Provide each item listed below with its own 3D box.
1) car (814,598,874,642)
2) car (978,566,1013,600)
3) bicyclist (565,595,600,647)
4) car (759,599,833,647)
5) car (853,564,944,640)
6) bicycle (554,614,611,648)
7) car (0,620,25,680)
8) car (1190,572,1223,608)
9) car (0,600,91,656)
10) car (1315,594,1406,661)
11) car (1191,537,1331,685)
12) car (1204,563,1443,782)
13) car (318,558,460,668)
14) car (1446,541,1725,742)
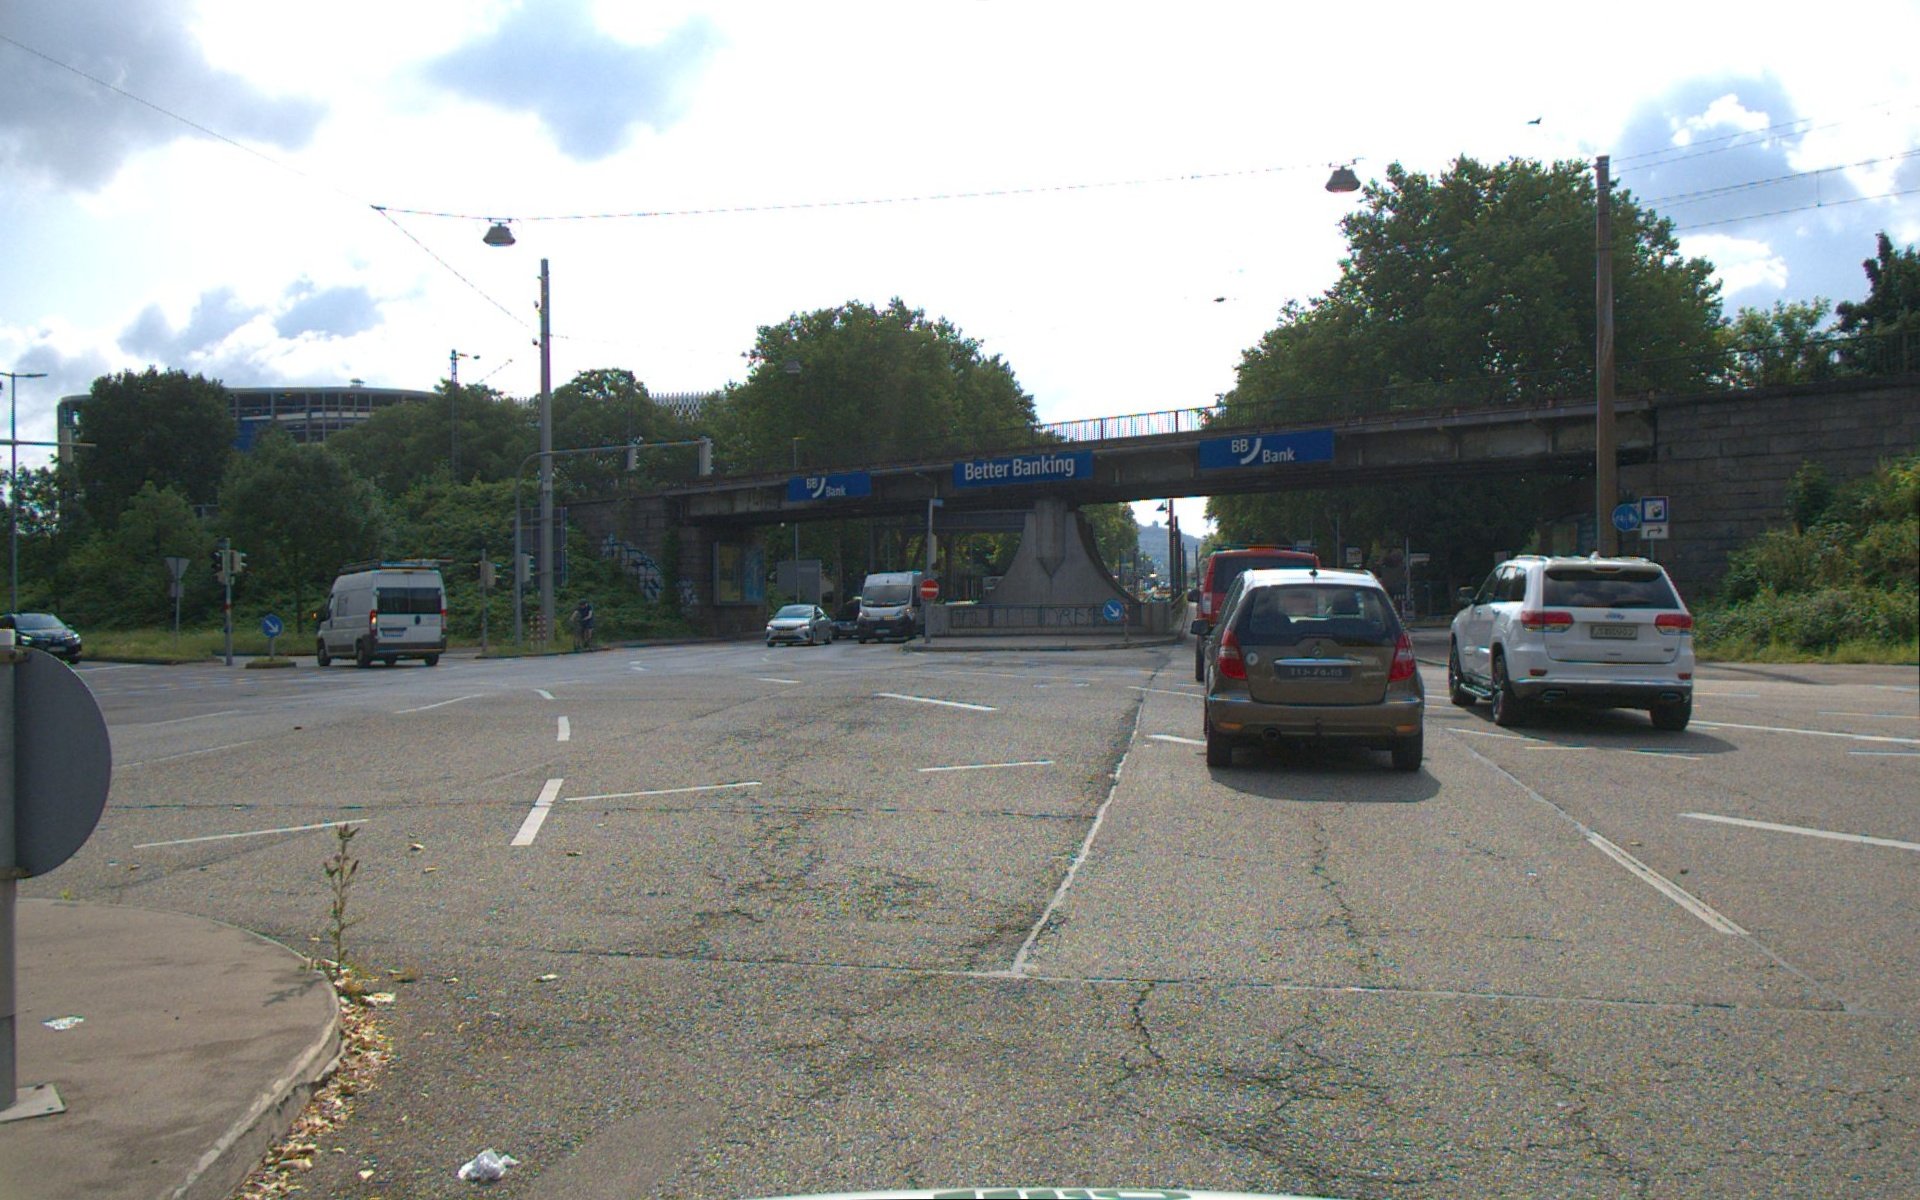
[{"bbox_3d":[-4.772,0.876,68.601,1.728,1.610,4.665,-5,-2,4],"label":"car"},{"bbox_3d":[3.059,-1.452,141.981,2.197,2.624,5.630,-2,-2,8],"label":"car"},{"bbox_3d":[-12.533,0.705,54.857,0.824,1.708,0.824,-1,-1,15],"label":"bicyclist"},{"bbox_3d":[-5.780,0.822,58.654,1.667,1.502,4.003,-5,-2,7],"label":"car"},{"bbox_3d":[-2.178,0.131,60.629,2.210,2.571,5.630,-2,-2,9],"label":"car"},{"bbox_3d":[-12.517,1.025,54.914,0.824,1.113,2.320,-1,-1,15],"label":"bicycle"},{"bbox_3d":[-27.720,1.411,46.027,1.857,1.602,4.492,2,-3,-45],"label":"car"},{"bbox_3d":[15.075,-0.595,101.313,1.914,2.052,4.680,1,-1,8],"label":"car"},{"bbox_3d":[-28.648,0.894,51.412,4.288,1.615,1.701,-3,-3,45],"label":"car"},{"bbox_3d":[9.789,0.706,40.628,1.812,1.548,3.619,-1,-2,8],"label":"car"},{"bbox_3d":[4.507,0.148,25.324,1.914,2.052,4.680,0,0,8],"label":"car"},{"bbox_3d":[3.040,0.505,14.497,1.753,1.636,3.802,1,1,8],"label":"car"},{"bbox_3d":[-15.323,0.419,44.253,2.182,2.774,4.864,1,-3,-38],"label":"car"},{"bbox_3d":[6.725,0.355,18.314,1.952,1.934,4.513,0,1,8],"label":"car"}]
